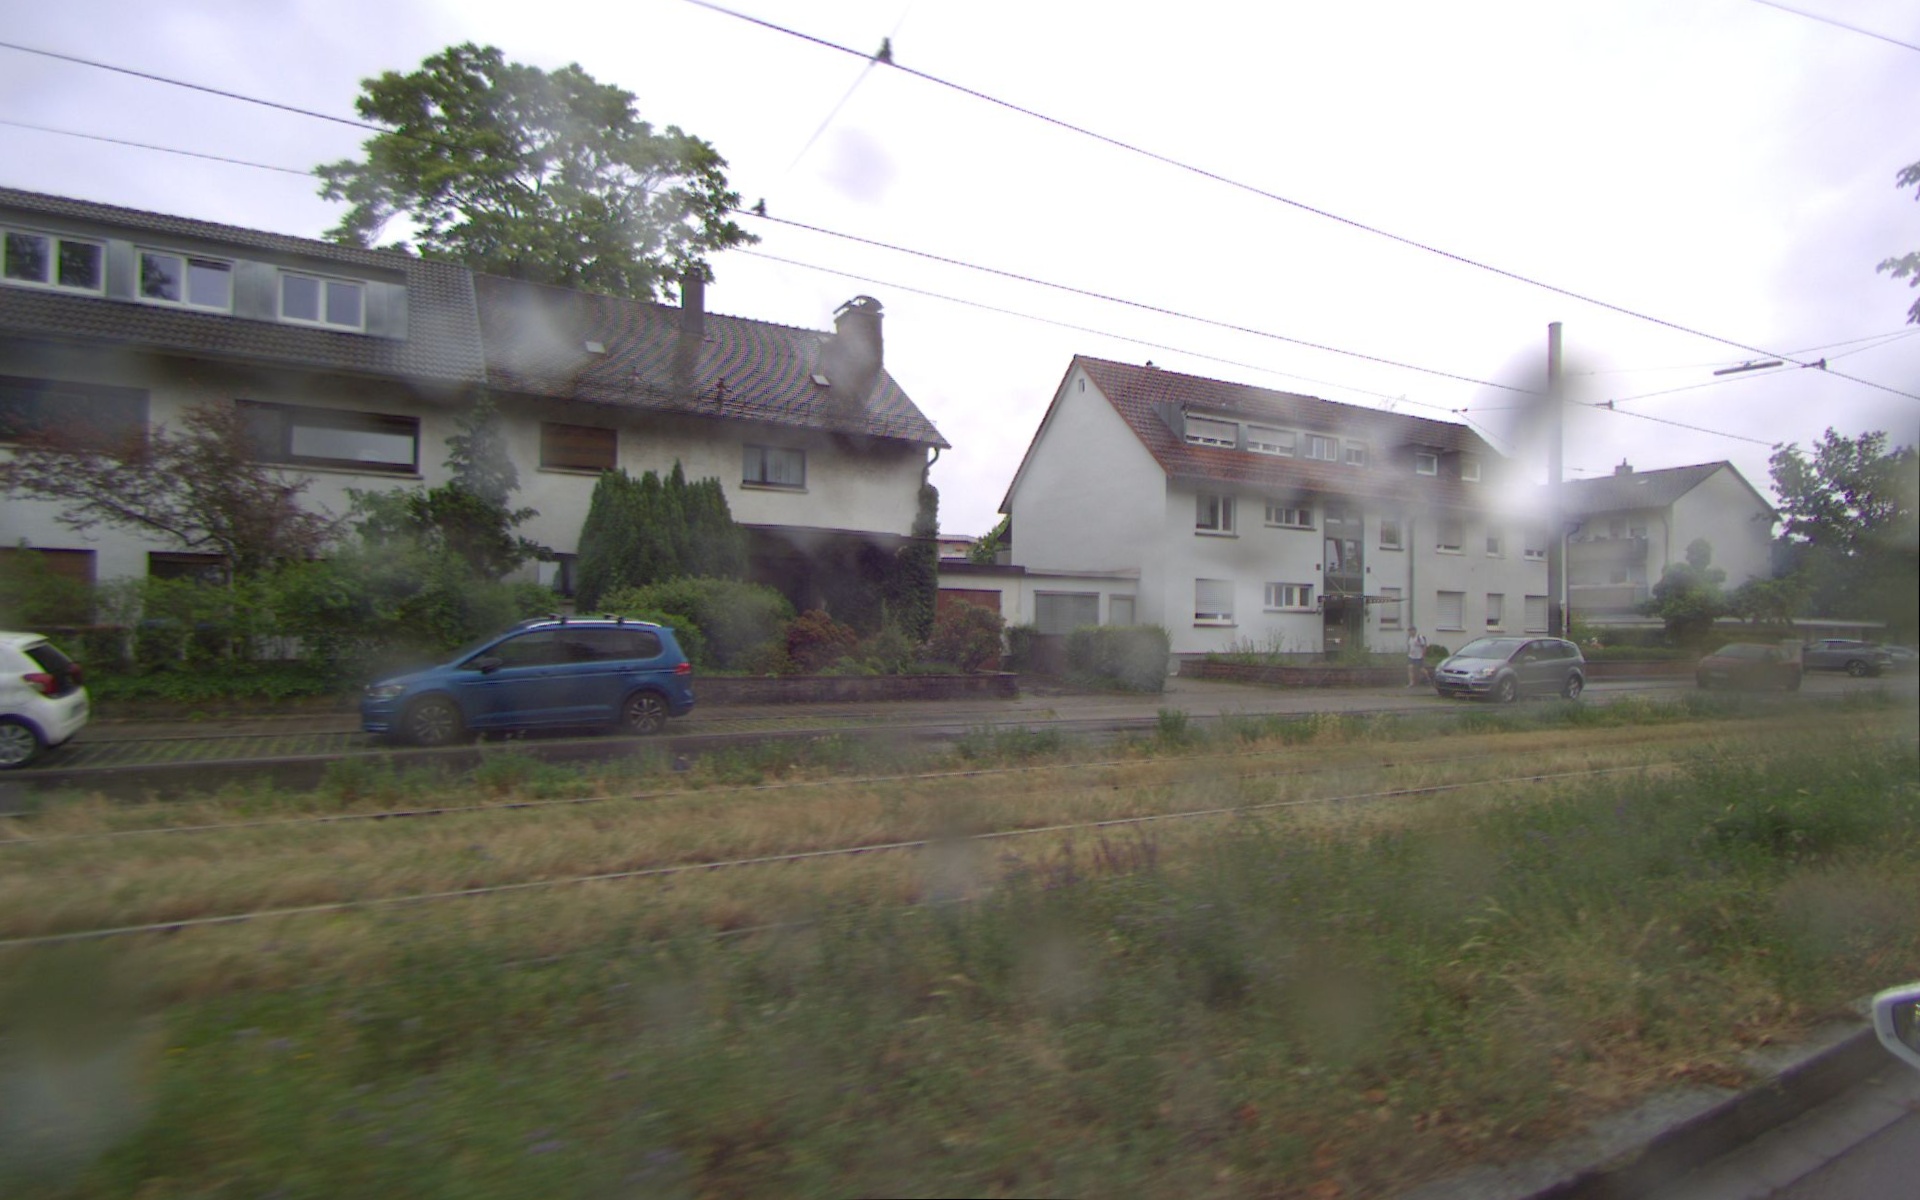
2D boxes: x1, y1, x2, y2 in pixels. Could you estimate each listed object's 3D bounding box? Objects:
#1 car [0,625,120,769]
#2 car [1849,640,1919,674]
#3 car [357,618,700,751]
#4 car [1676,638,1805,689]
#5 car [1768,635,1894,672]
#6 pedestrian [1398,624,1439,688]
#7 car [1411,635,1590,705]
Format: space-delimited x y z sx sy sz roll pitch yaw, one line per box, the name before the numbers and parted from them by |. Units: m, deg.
car | -11.814 1.059 11.139 3.555 1.508 1.787 1 0 -31
car | 46.925 2.817 49.739 1.978 1.638 3.966 2 -3 -32
car | -6.246 1.119 14.677 4.362 1.635 1.983 1 0 -31
car | 25.747 2.049 33.114 4.156 1.508 1.984 1 0 -31
car | 39.793 2.422 45.971 1.978 1.638 3.966 2 -3 -32
pedestrian | 13.072 1.583 28.625 0.844 1.778 0.698 1 -2 -30
car | 14.084 1.748 26.139 4.461 1.602 1.985 1 0 -29
